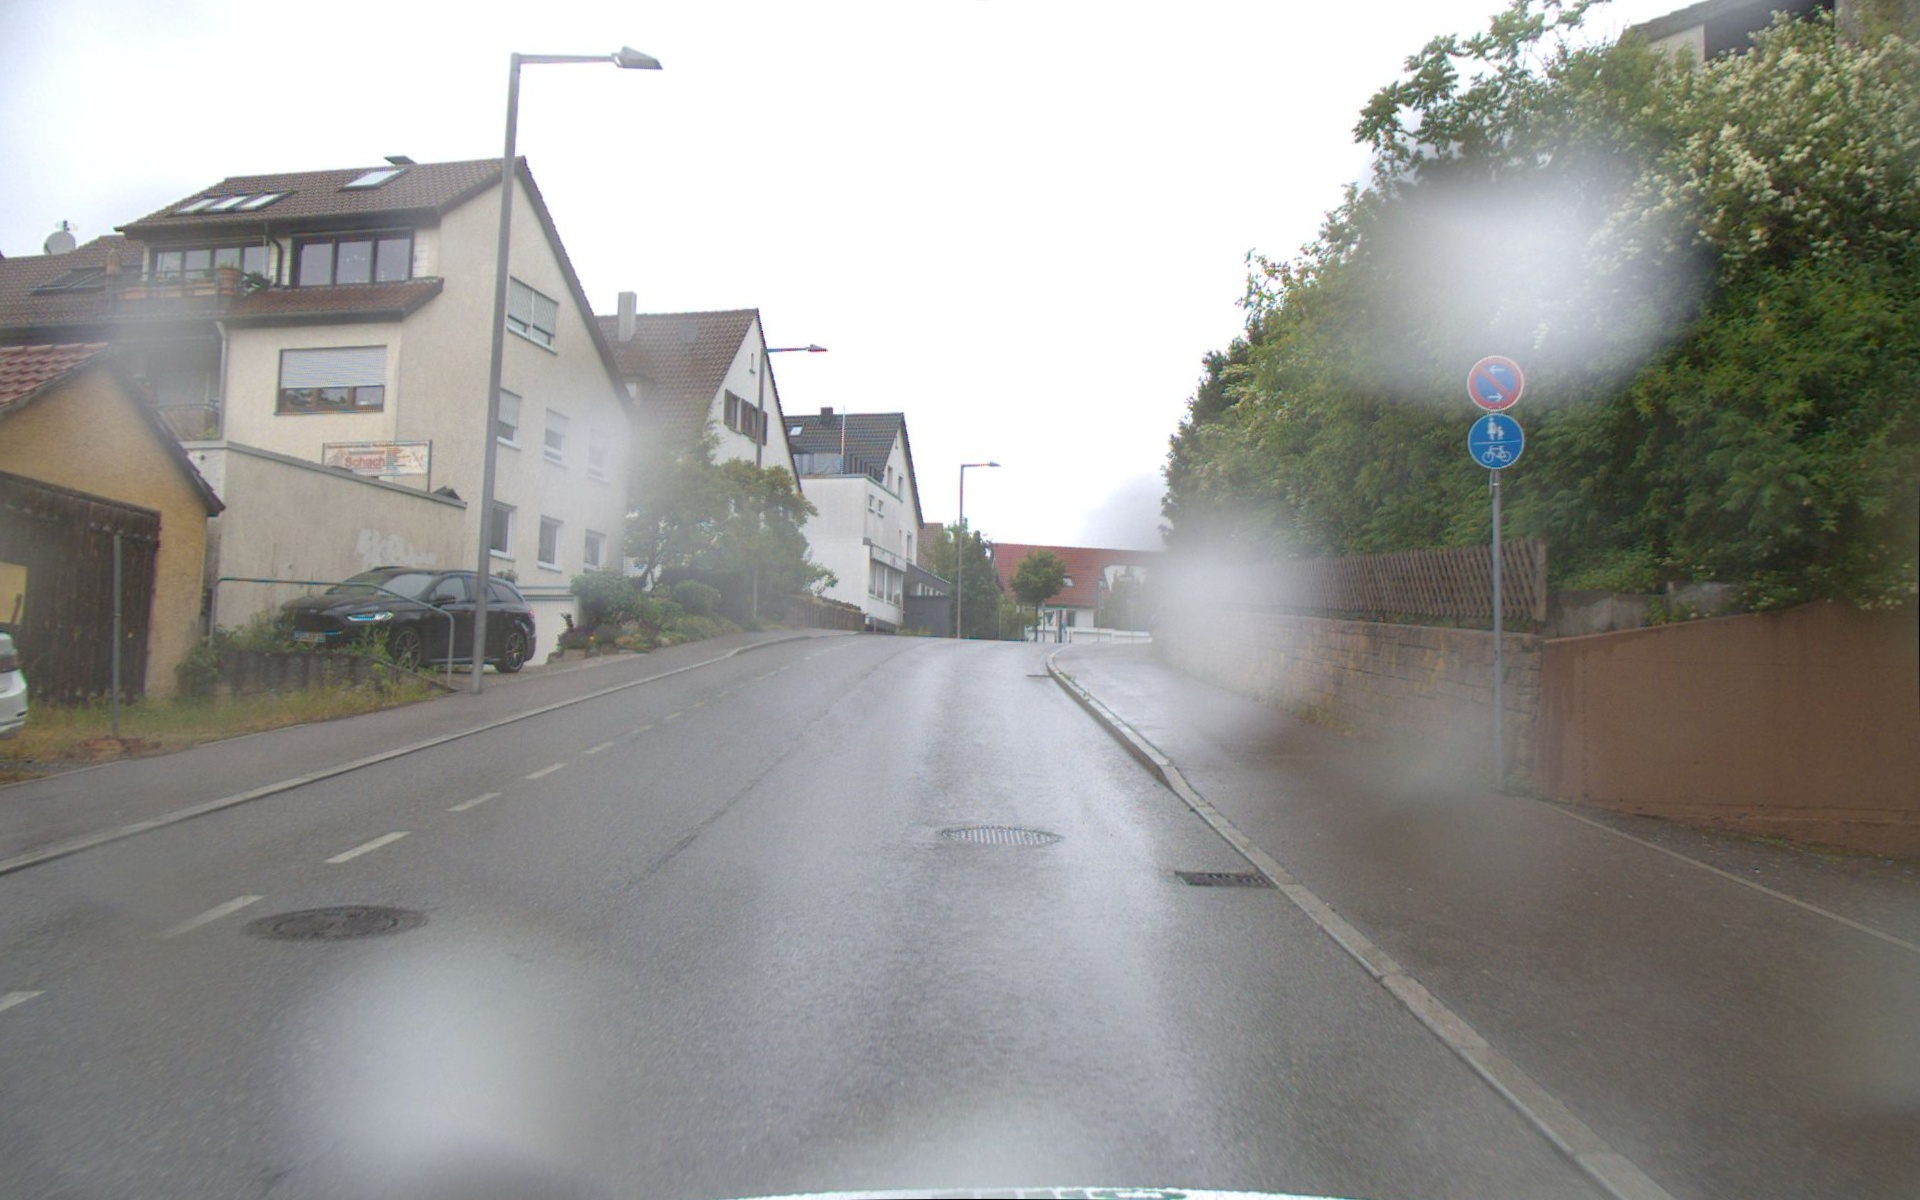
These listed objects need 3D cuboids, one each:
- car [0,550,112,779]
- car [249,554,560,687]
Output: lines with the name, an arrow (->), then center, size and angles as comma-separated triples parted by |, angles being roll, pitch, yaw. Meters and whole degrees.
car -> -8.550, 0.405, 11.608 | 4.400, 1.531, 1.902 | 1, 0, 12
car -> -7.805, 0.262, 23.870 | 1.932, 1.688, 4.966 | 1, 0, 13
